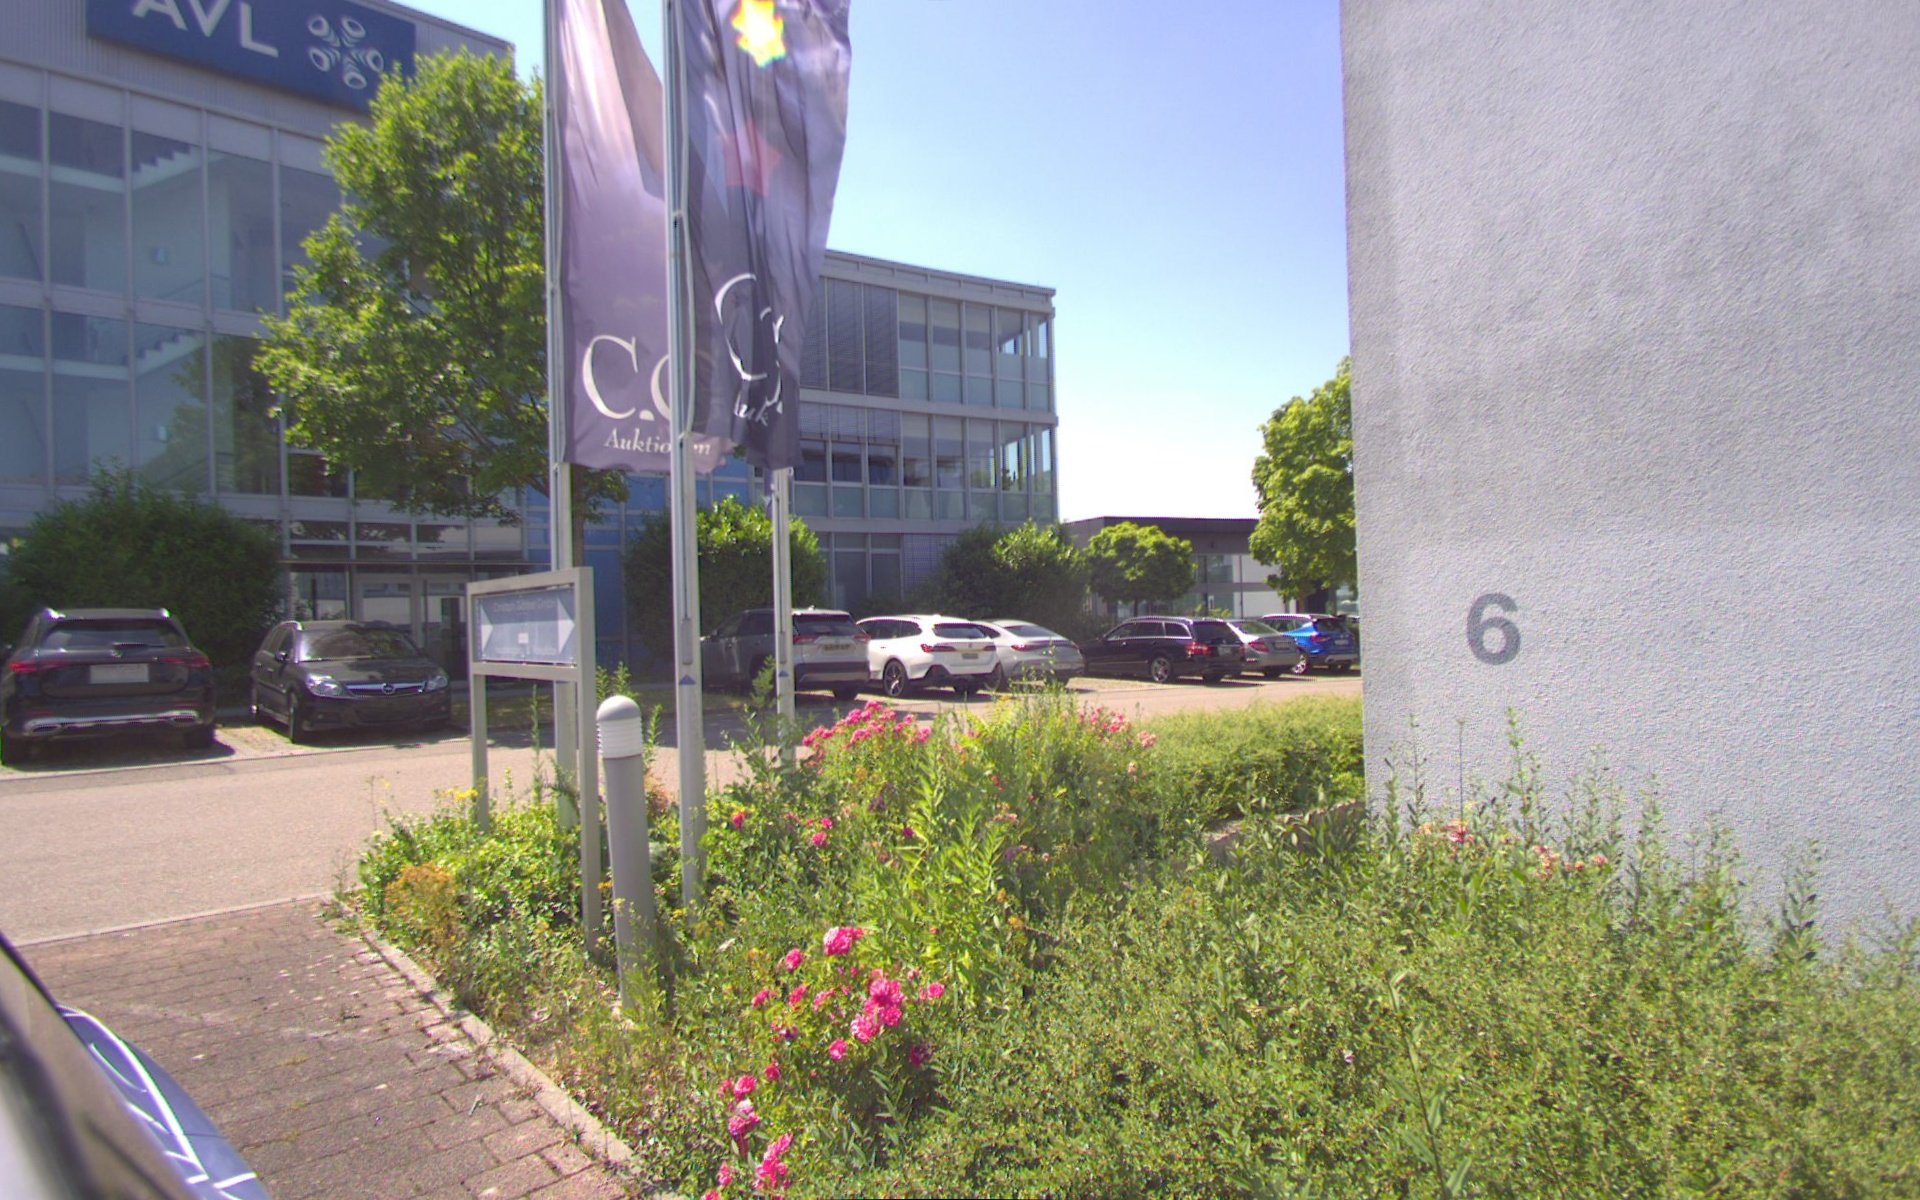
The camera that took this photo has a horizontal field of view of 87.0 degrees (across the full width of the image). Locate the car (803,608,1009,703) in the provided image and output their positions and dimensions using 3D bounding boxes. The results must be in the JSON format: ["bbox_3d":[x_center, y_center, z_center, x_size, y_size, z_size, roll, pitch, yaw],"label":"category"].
[{"bbox_3d":[-1.151,1.005,19.655,1.805,1.650,4.177,1,-1,-41],"label":"car"}]

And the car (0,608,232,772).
[{"bbox_3d":[-10.135,0.920,11.982,1.911,1.615,3.863,1,-2,-44],"label":"car"}]

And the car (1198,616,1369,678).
[{"bbox_3d":[8.460,1.173,26.789,1.723,1.435,4.183,0,0,-32],"label":"car"}]

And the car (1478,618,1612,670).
[{"bbox_3d":[17.171,1.255,29.839,1.522,1.435,3.099,0,-1,-24],"label":"car"}]

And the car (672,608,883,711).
[{"bbox_3d":[-3.397,0.993,18.292,1.805,1.650,4.176,1,-2,-43],"label":"car"}]

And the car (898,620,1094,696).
[{"bbox_3d":[0.651,1.138,21.190,1.725,1.411,4.177,1,-1,-41],"label":"car"}]

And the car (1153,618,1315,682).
[{"bbox_3d":[6.712,1.179,25.286,1.722,1.435,4.185,0,-1,-22],"label":"car"}]

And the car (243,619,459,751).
[{"bbox_3d":[-8.416,1.023,13.791,1.705,1.495,4.402,0,-1,-42],"label":"car"}]

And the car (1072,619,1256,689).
[{"bbox_3d":[4.634,1.172,23.553,1.723,1.435,4.182,1,-1,-35],"label":"car"}]

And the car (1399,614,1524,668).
[{"bbox_3d":[14.641,1.148,29.691,1.522,1.435,3.009,0,0,-24],"label":"car"}]
